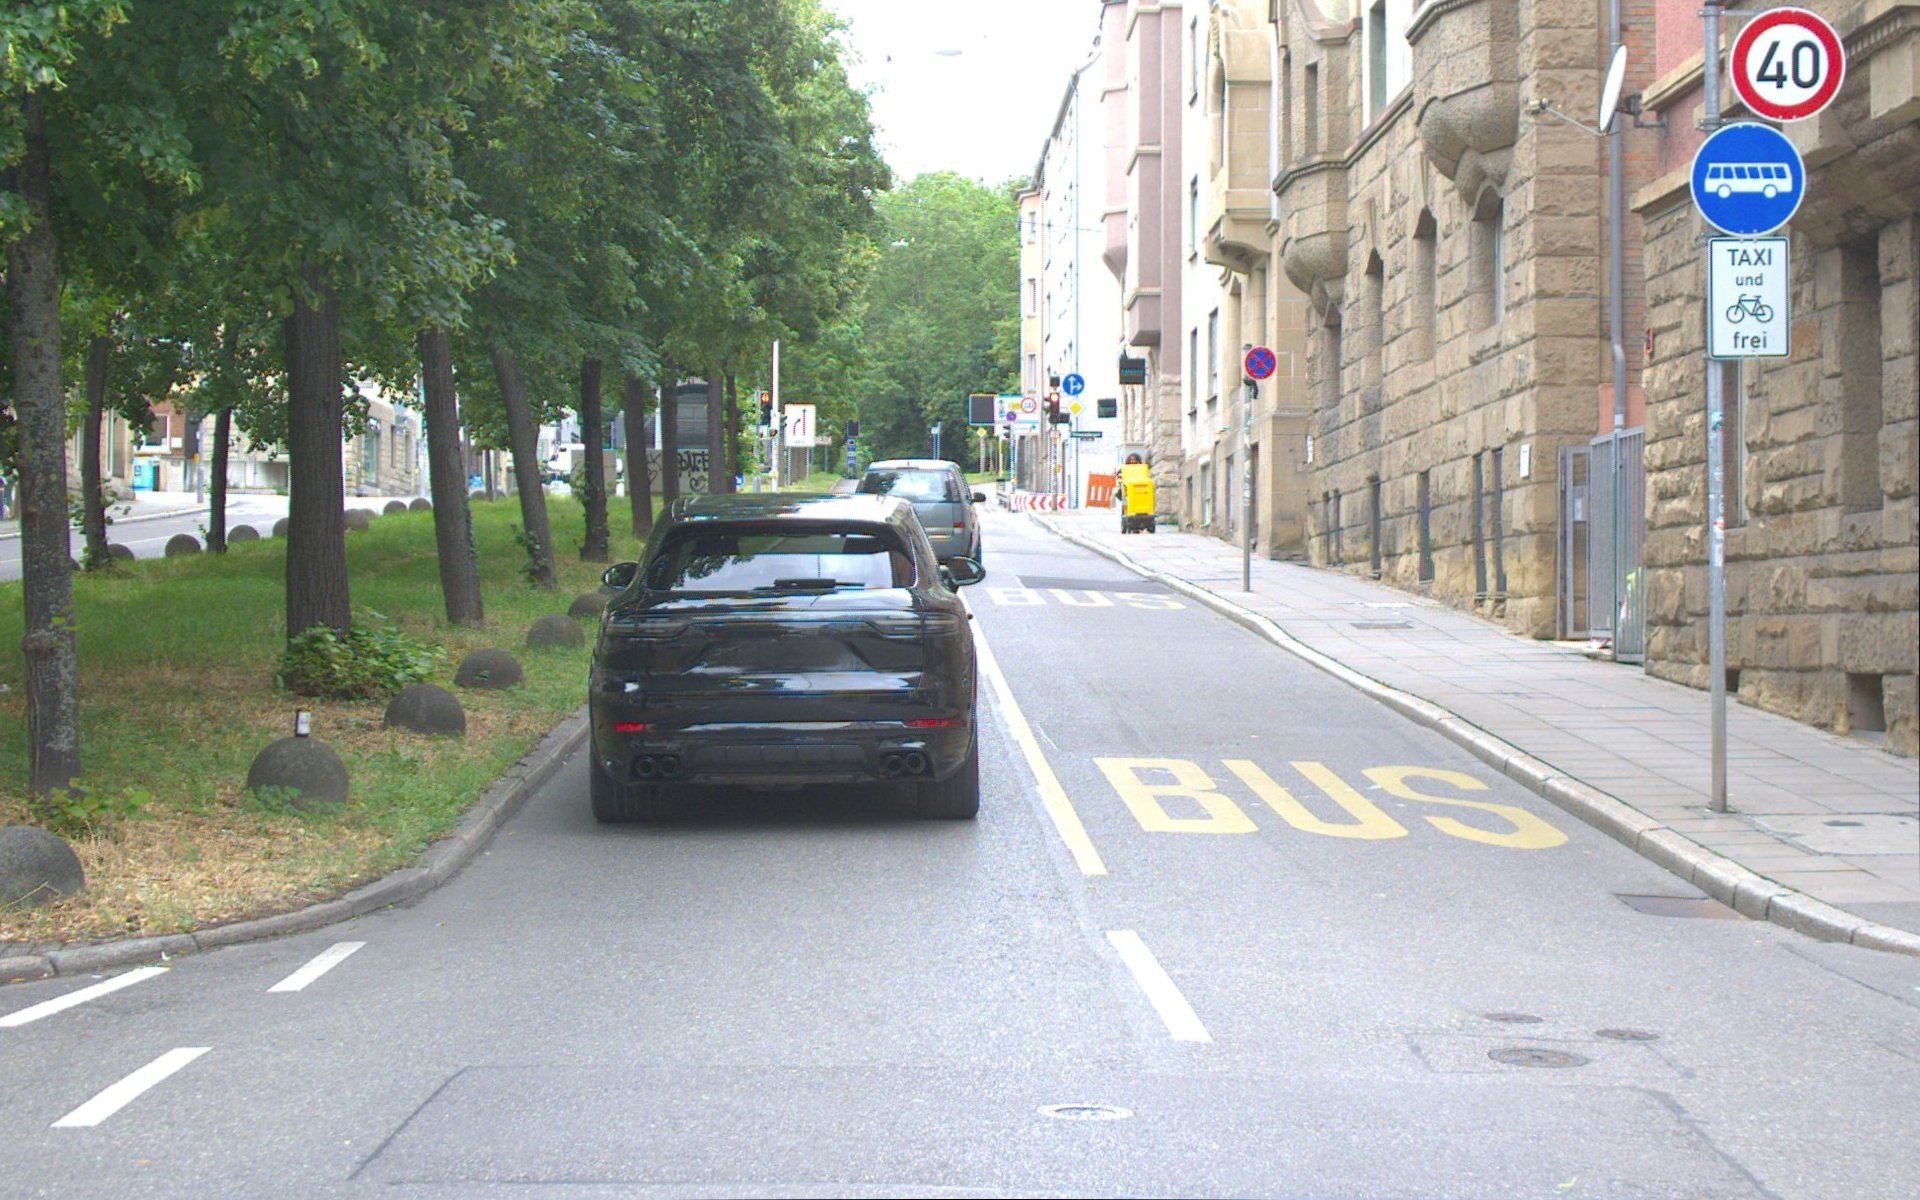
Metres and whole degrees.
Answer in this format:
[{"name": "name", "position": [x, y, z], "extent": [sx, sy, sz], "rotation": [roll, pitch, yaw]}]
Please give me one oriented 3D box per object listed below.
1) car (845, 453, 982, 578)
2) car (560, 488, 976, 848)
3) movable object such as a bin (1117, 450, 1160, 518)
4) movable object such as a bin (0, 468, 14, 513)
[{"name": "car", "position": [-0.675, -1.196, 47.310], "extent": [1.752, 1.587, 3.631], "rotation": [1, 3, -2]}, {"name": "car", "position": [-0.938, 0.265, 18.604], "extent": [1.994, 1.647, 4.001], "rotation": [0, 3, 0]}, {"name": "movable object such as a bin", "position": [3.775, -2.439, 72.629], "extent": [0.719, 1.416, 1.694], "rotation": [-1, 1, -3]}, {"name": "movable object such as a bin", "position": [-19.688, -2.239, 70.157], "extent": [0.609, 0.901, 0.602], "rotation": [1, 2, -5]}]
